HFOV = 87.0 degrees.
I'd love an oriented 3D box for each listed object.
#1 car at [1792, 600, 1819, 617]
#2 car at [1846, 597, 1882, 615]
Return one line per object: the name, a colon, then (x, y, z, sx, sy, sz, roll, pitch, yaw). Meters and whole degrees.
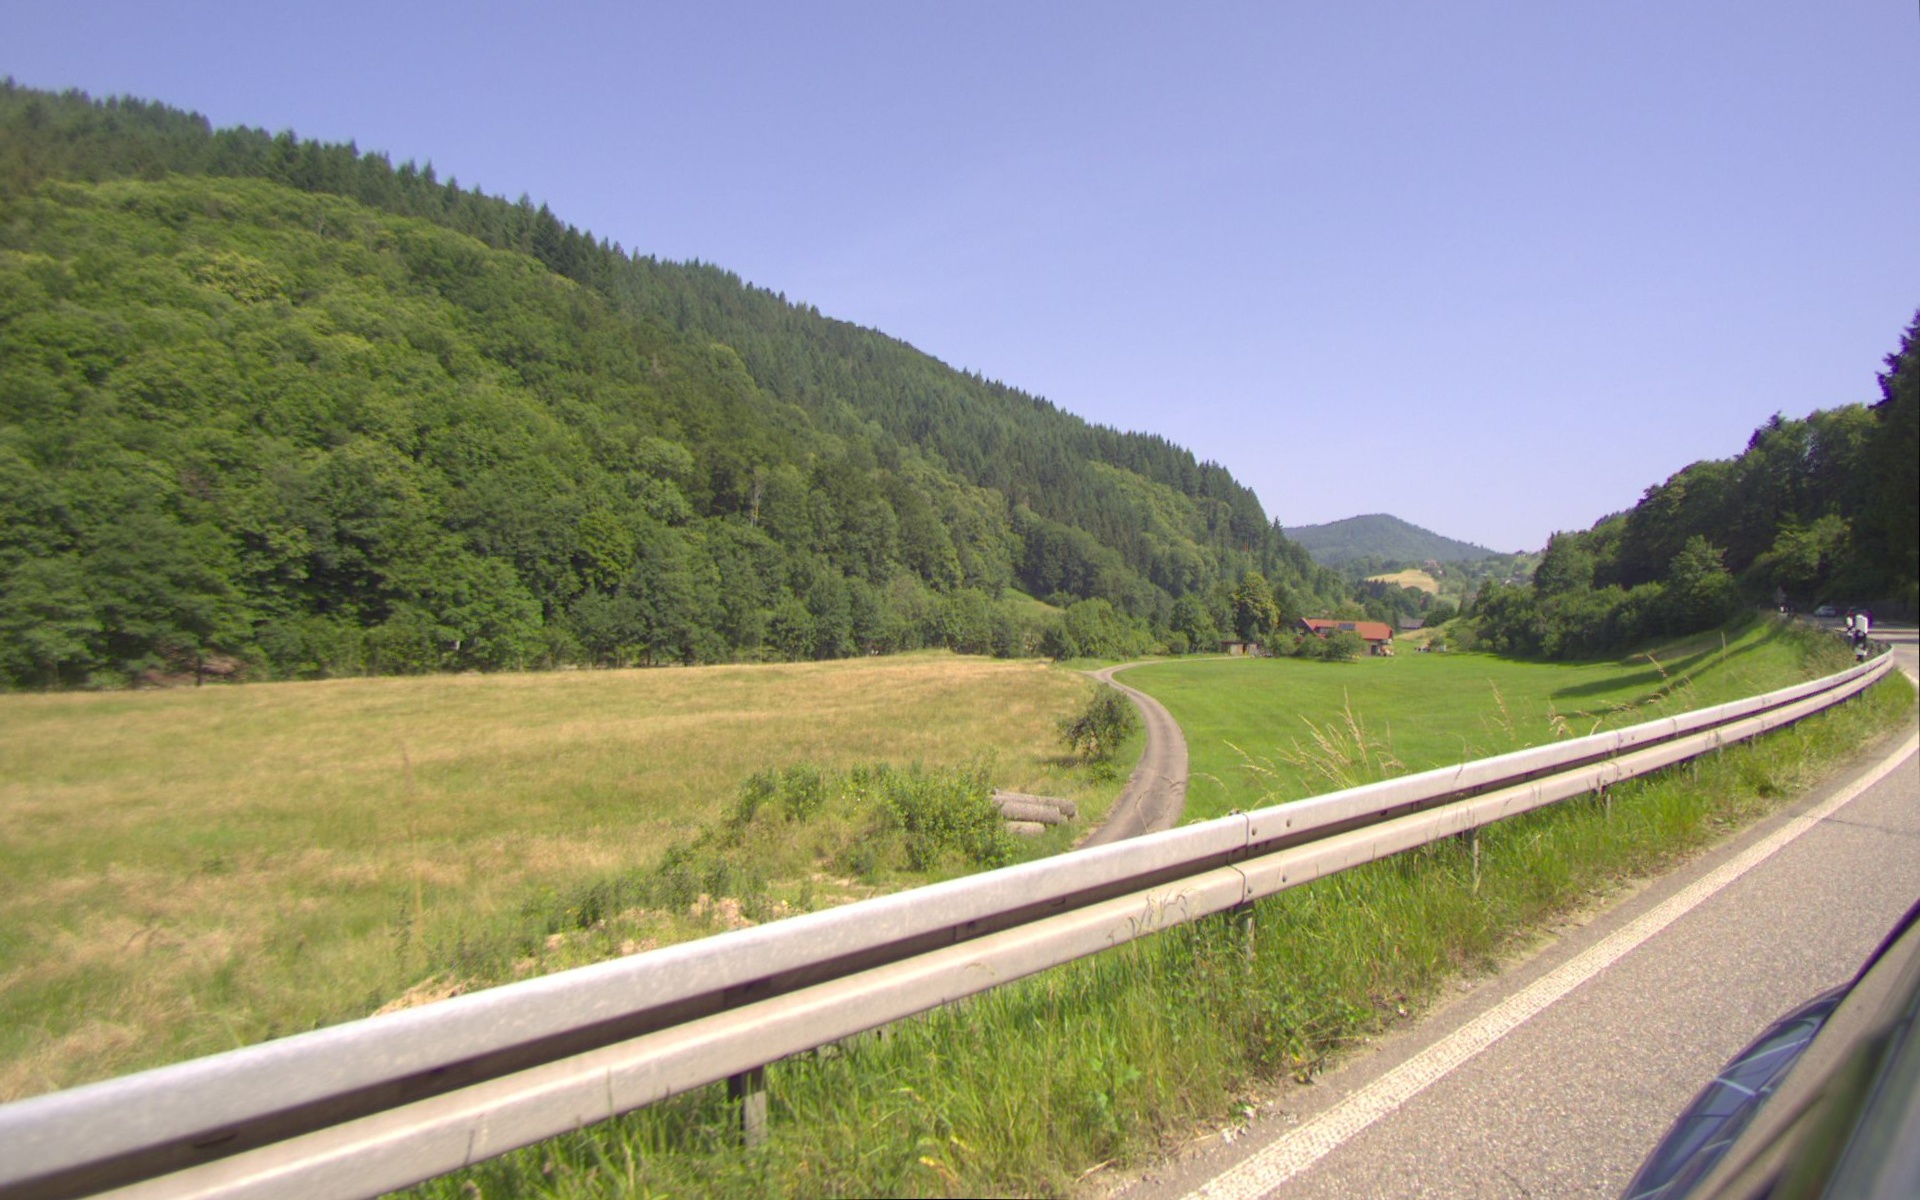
car: (88.818, 0.855, 106.338, 1.884, 1.666, 4.200, -1, 0, 37)
car: (77.544, 0.534, 86.842, 1.758, 1.414, 4.095, -1, 0, 34)
